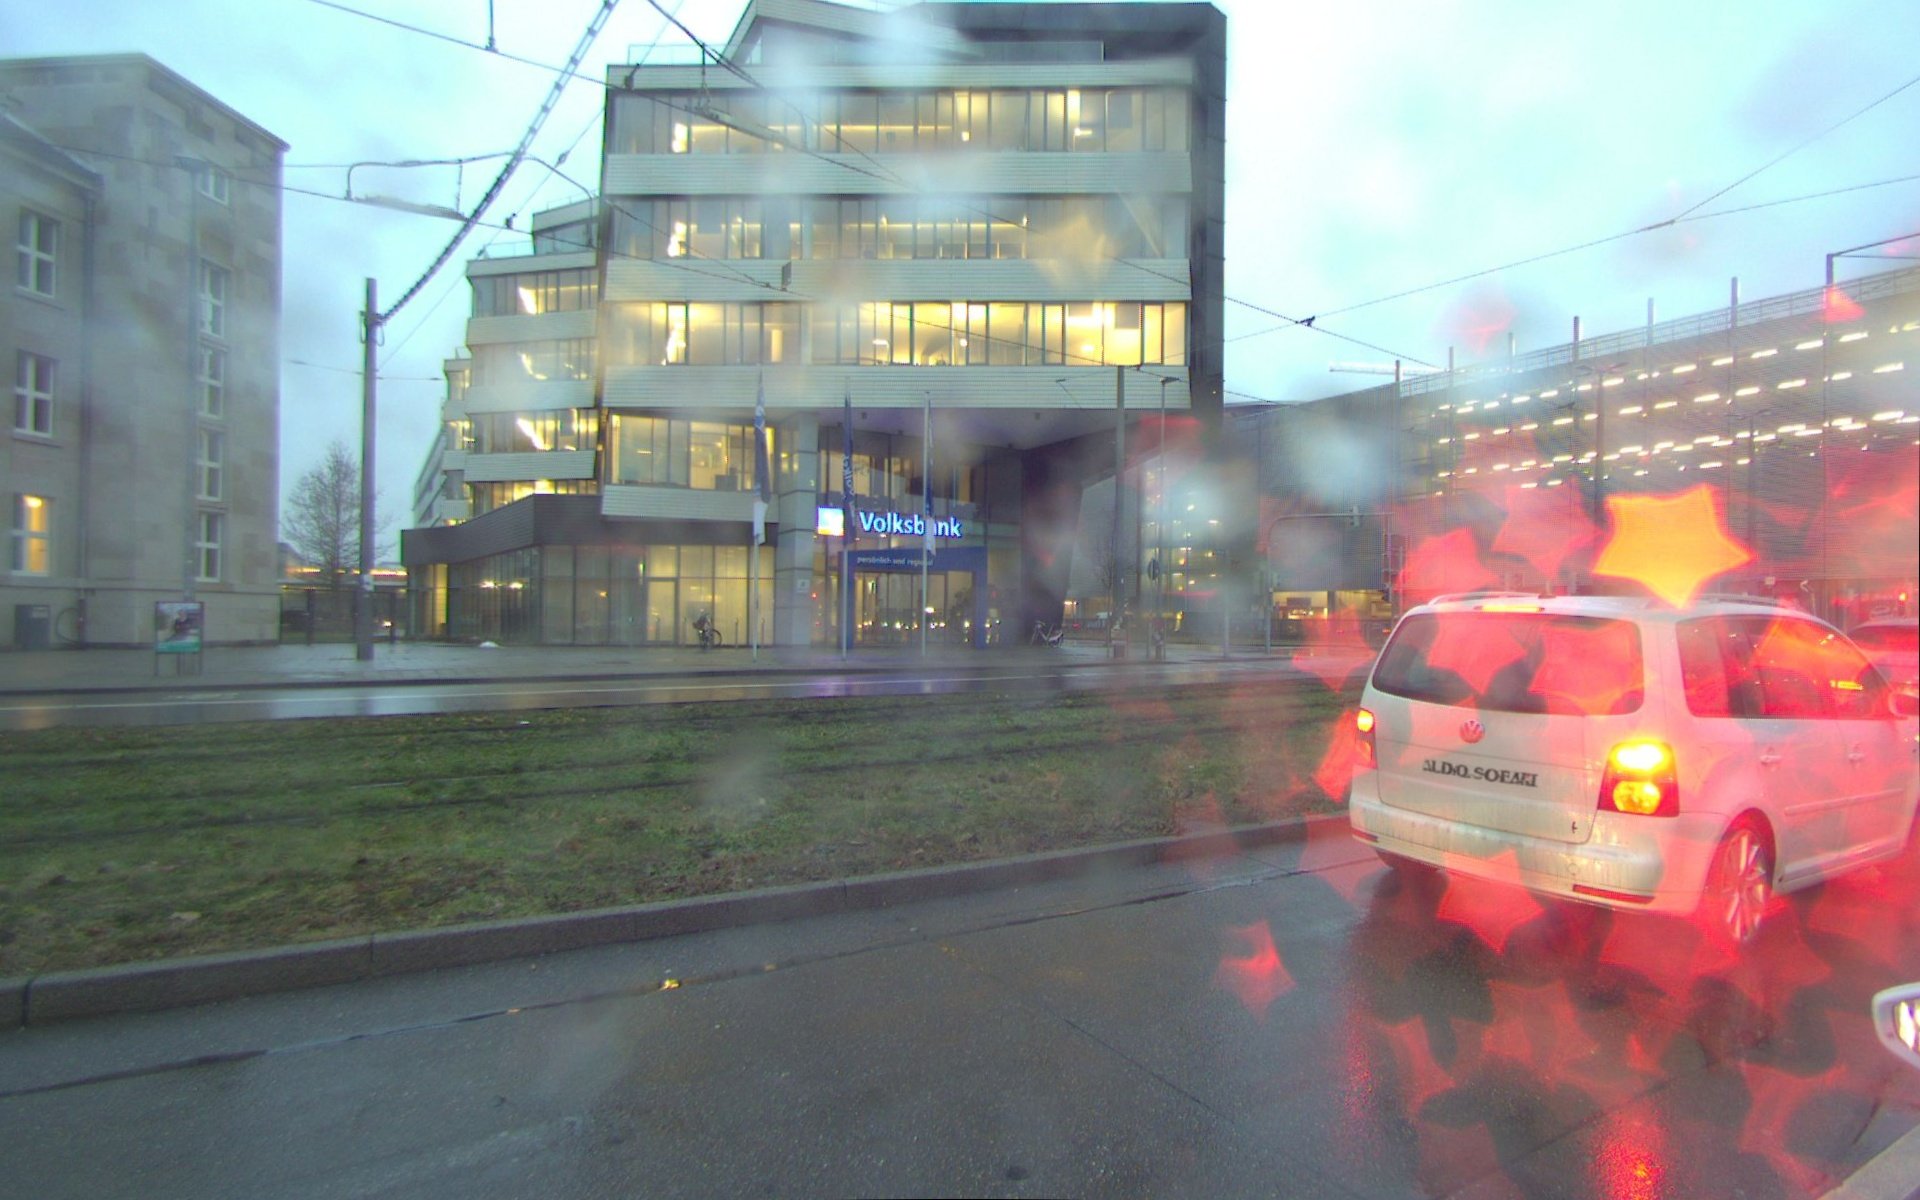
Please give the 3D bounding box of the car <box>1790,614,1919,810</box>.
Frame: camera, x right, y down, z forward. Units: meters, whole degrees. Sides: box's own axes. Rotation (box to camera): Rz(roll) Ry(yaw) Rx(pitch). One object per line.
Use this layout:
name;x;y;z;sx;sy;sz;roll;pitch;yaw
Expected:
car;9.442;0.951;9.269;3.959;1.595;1.742;1;-1;-34

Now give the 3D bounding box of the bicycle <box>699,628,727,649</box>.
bicycle;-8.616;1.347;35.065;0.896;0.724;0.483;1;-1;-10

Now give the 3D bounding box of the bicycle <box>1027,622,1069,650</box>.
bicycle;3.528;1.437;40.109;1.588;1.105;0.553;1;-1;-23

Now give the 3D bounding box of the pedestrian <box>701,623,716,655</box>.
pedestrian;-8.607;1.326;34.364;0.380;1.103;0.325;0;-1;5

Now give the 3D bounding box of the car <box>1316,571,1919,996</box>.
car;4.094;0.731;5.792;4.102;1.682;1.660;1;1;-33
